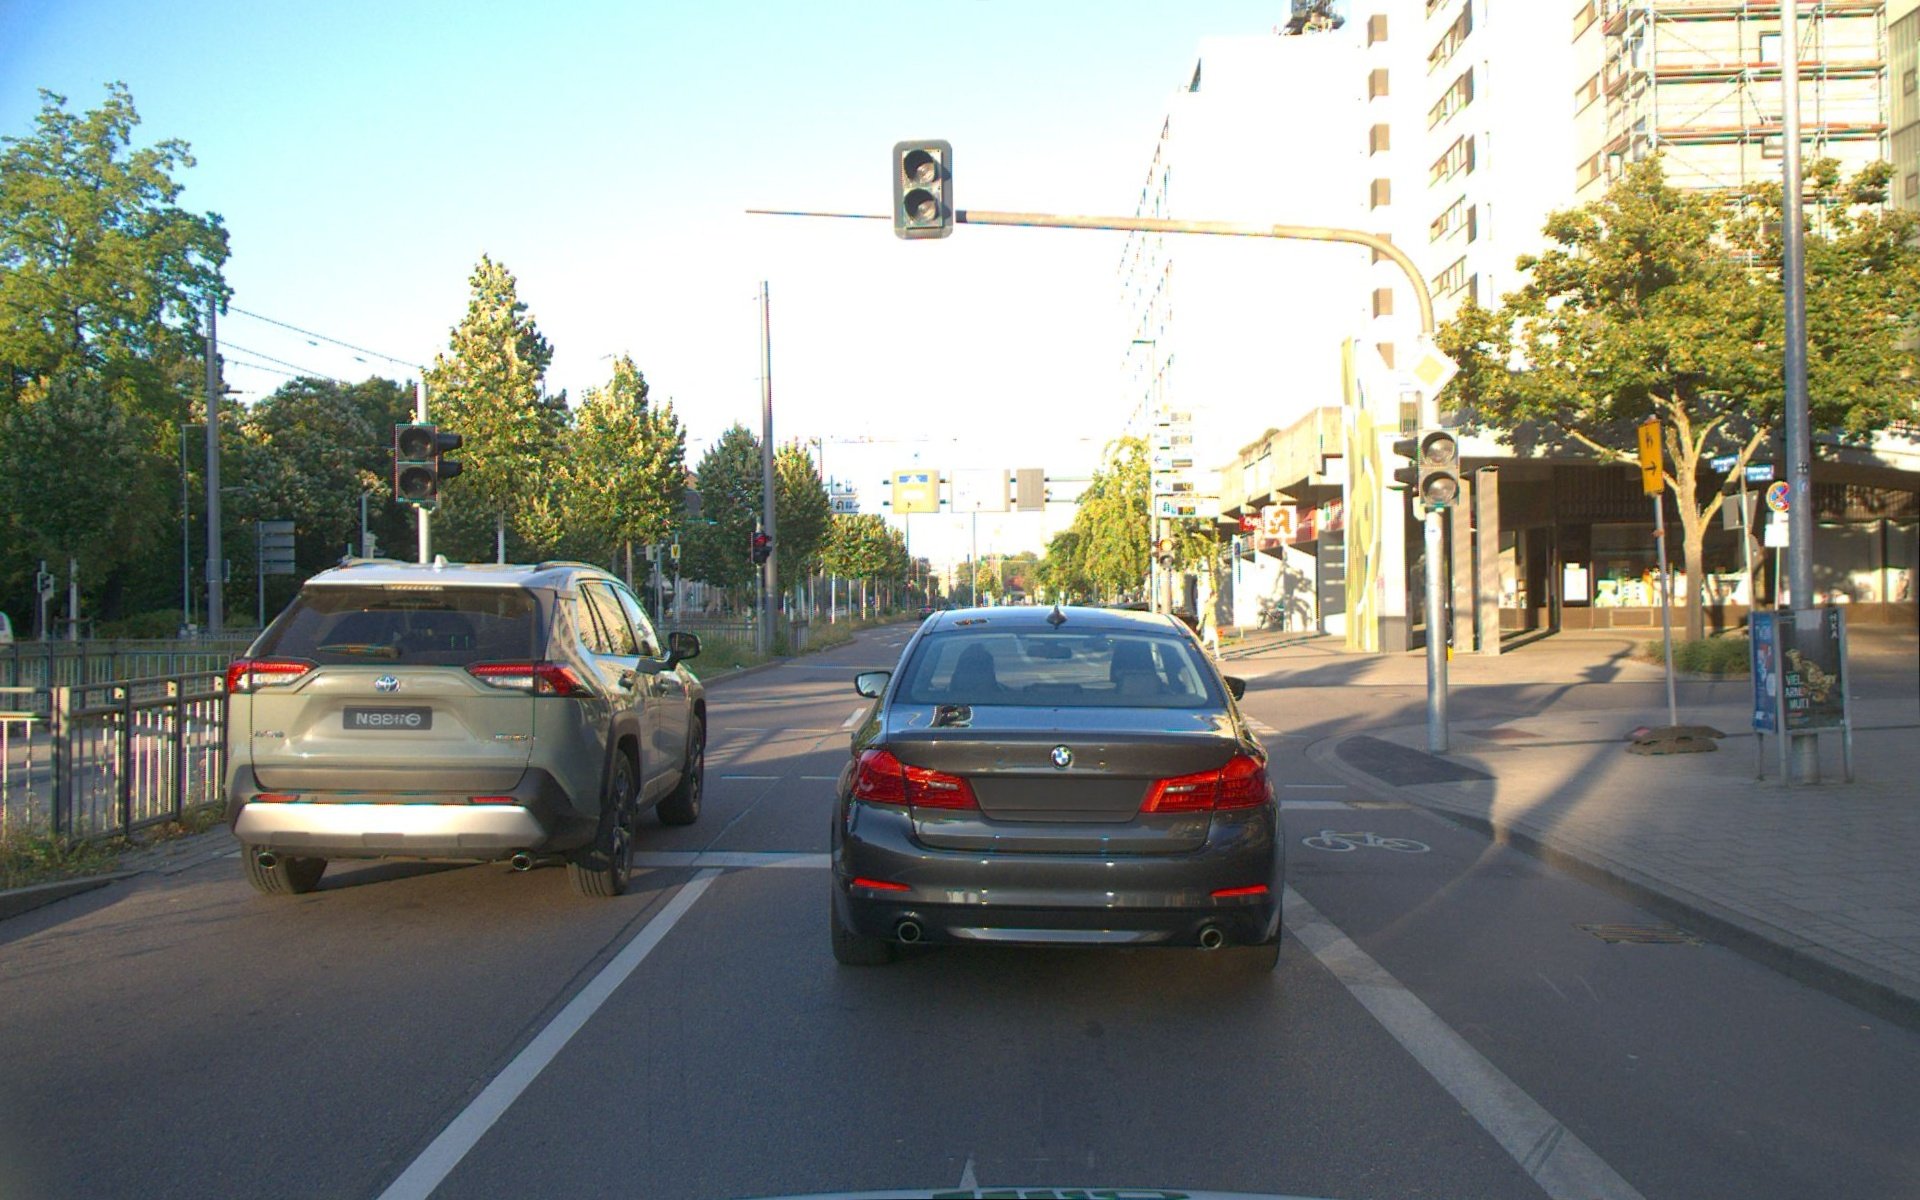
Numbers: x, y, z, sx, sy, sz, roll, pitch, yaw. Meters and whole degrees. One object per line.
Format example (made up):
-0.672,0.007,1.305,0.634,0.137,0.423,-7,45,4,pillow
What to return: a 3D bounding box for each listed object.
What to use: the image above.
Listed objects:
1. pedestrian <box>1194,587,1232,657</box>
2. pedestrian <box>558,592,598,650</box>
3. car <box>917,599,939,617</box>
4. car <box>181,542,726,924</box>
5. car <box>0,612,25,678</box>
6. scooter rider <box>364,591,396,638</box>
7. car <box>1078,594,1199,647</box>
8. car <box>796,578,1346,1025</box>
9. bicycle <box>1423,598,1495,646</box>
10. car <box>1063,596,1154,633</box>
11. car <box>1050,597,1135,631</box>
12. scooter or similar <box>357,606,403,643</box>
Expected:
6.360,0.550,41.578,0.818,1.742,0.647,-1,0,-2,pedestrian
-10.728,0.583,46.452,0.817,1.614,0.813,-1,0,11,pedestrian
-2.834,0.707,146.872,1.938,1.458,4.843,0,1,0,car
-2.549,0.548,9.468,1.816,1.687,4.268,0,1,0,car
-22.910,1.054,37.054,1.763,1.507,3.783,-1,0,0,car
-19.043,0.469,54.302,0.815,1.540,0.643,-1,0,-39,scooter rider
6.134,0.673,56.692,4.234,1.687,1.831,-1,1,-43,car
0.382,0.668,7.974,1.892,1.507,4.522,0,1,0,car
12.493,0.542,41.501,0.678,1.169,2.012,2,-1,-18,bicycle
7.106,0.673,79.079,4.221,1.687,1.837,0,1,-36,car
6.836,0.704,85.226,4.219,1.687,1.838,0,1,-36,car
-19.032,0.805,54.270,1.321,1.173,0.506,-1,0,-40,scooter or similar
